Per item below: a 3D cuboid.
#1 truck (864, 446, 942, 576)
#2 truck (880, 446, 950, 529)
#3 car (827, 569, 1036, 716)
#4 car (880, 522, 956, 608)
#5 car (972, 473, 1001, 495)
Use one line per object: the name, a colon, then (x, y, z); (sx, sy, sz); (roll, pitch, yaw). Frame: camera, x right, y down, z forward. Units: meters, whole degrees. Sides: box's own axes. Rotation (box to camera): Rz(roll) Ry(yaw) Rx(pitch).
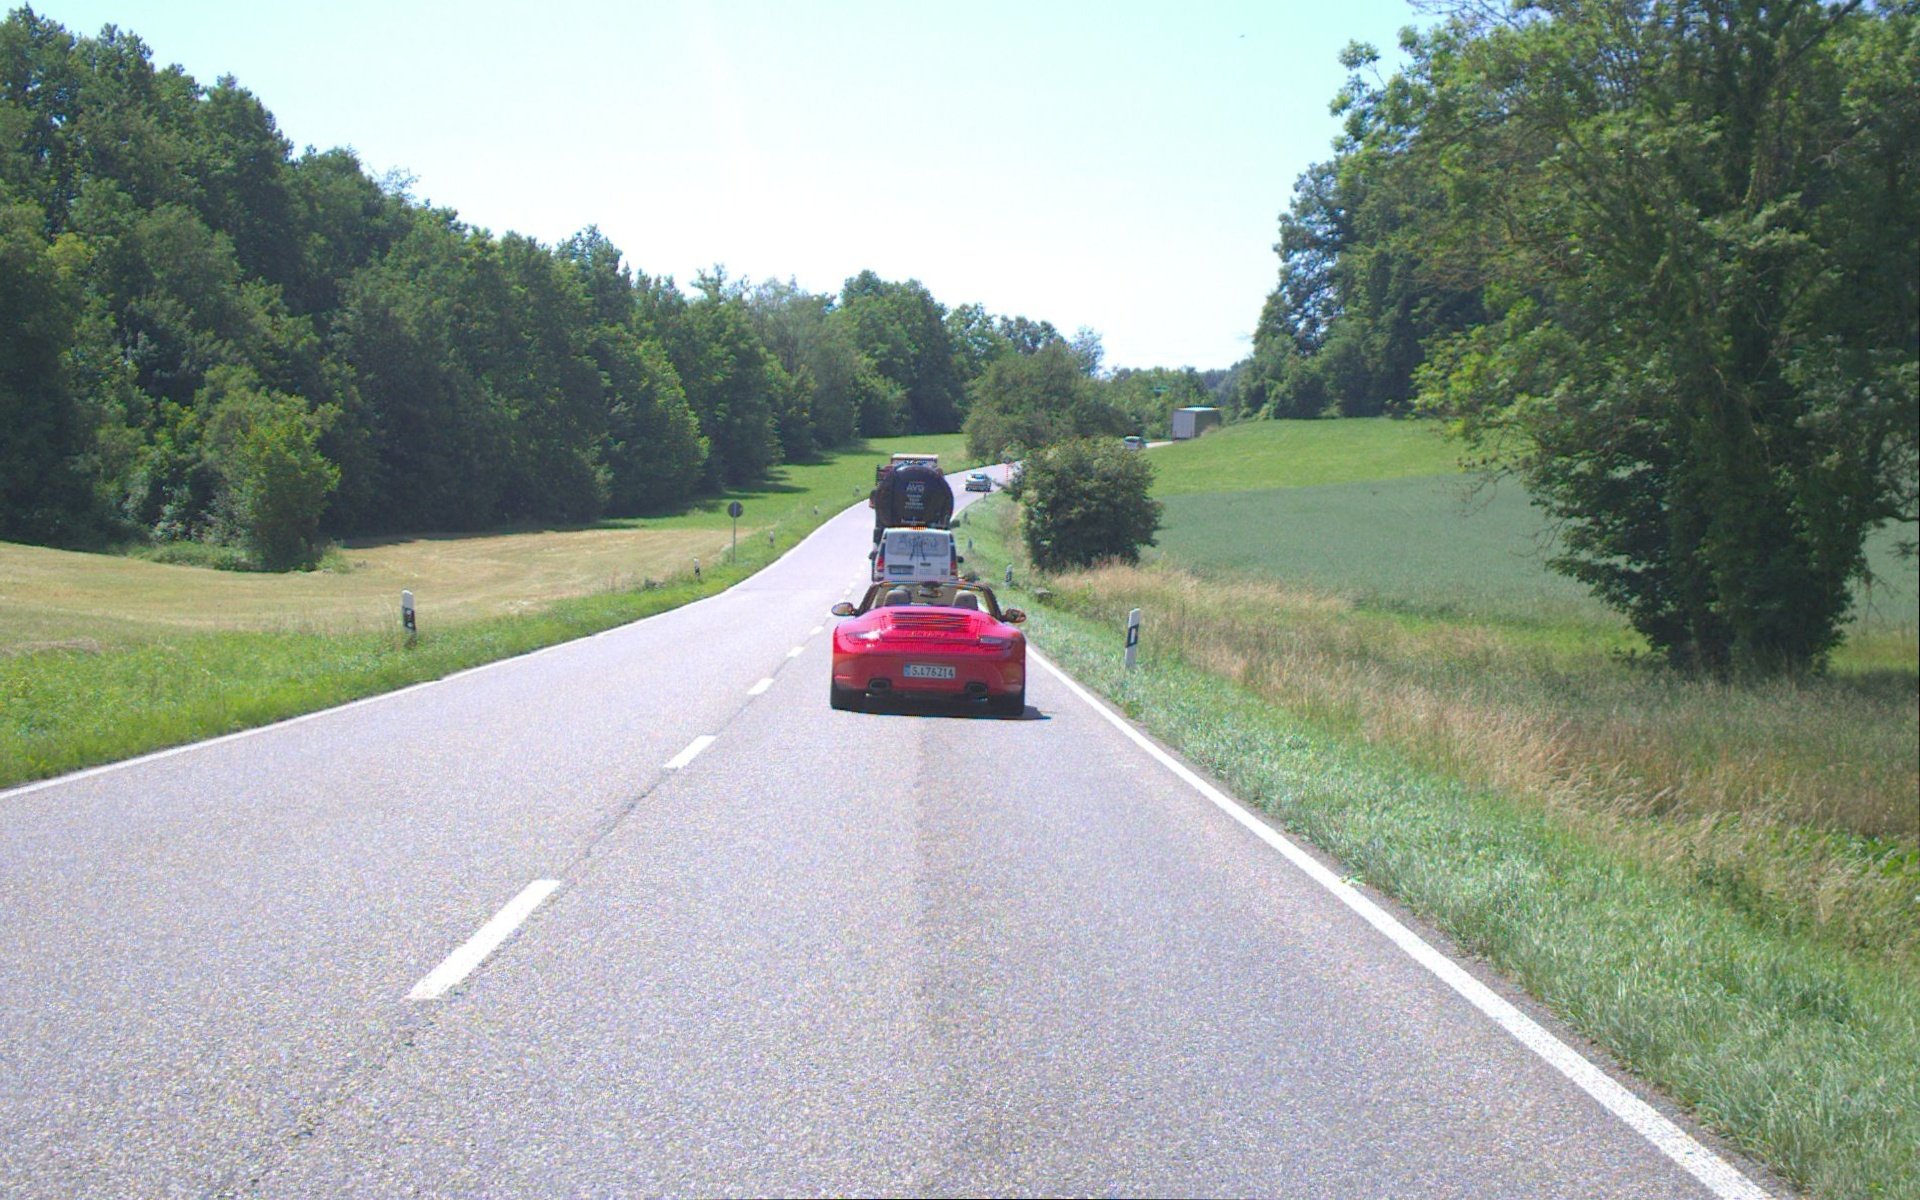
truck: (-1.973, -3.092, 115.247); (2.404, 4.035, 12.553); (-1, 3, -2)
truck: (-2.671, -6.556, 199.420); (3.725, 4.644, 12.033); (0, 2, -2)
car: (-0.299, 0.376, 33.836); (1.882, 1.251, 4.010); (2, 1, -1)
car: (-0.942, -0.827, 79.127); (1.678, 1.894, 4.010); (-1, 1, 0)
car: (1.907, -8.364, 246.961); (1.698, 1.491, 3.711); (-1, 3, 6)
